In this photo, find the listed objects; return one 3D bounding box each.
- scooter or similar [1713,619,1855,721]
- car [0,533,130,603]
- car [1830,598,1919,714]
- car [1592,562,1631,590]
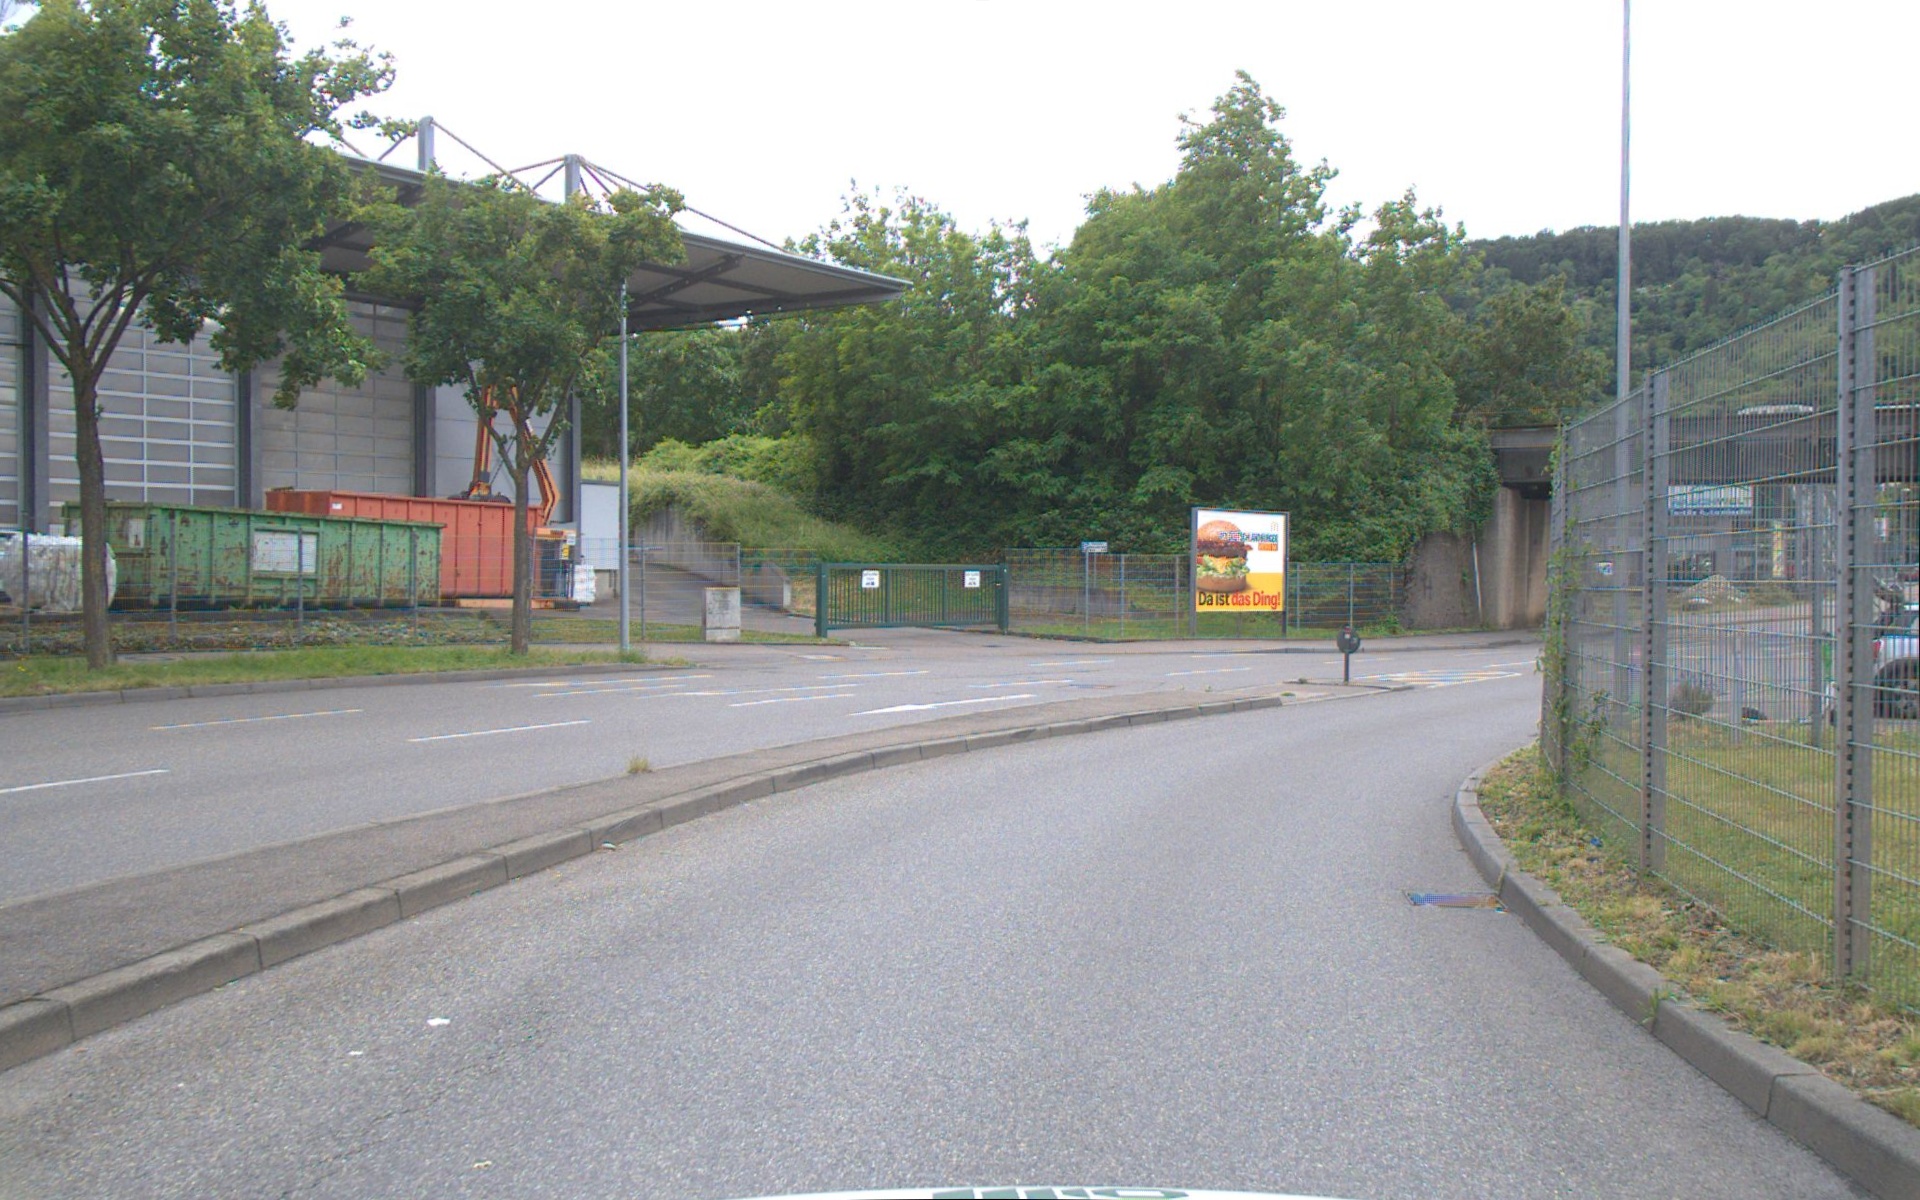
[{"bbox_3d":[9.595,0.801,19.286,1.395,1.153,0.477,-1,-1,45],"label":"scooter or similar"},{"bbox_3d":[-19.554,-0.651,34.181,1.703,1.398,3.984,1,0,36],"label":"car"},{"bbox_3d":[13.552,0.704,21.285,3.923,1.457,1.787,0,0,19],"label":"car"},{"bbox_3d":[37.508,-1.413,95.261,1.952,1.562,4.001,1,1,20],"label":"car"}]
